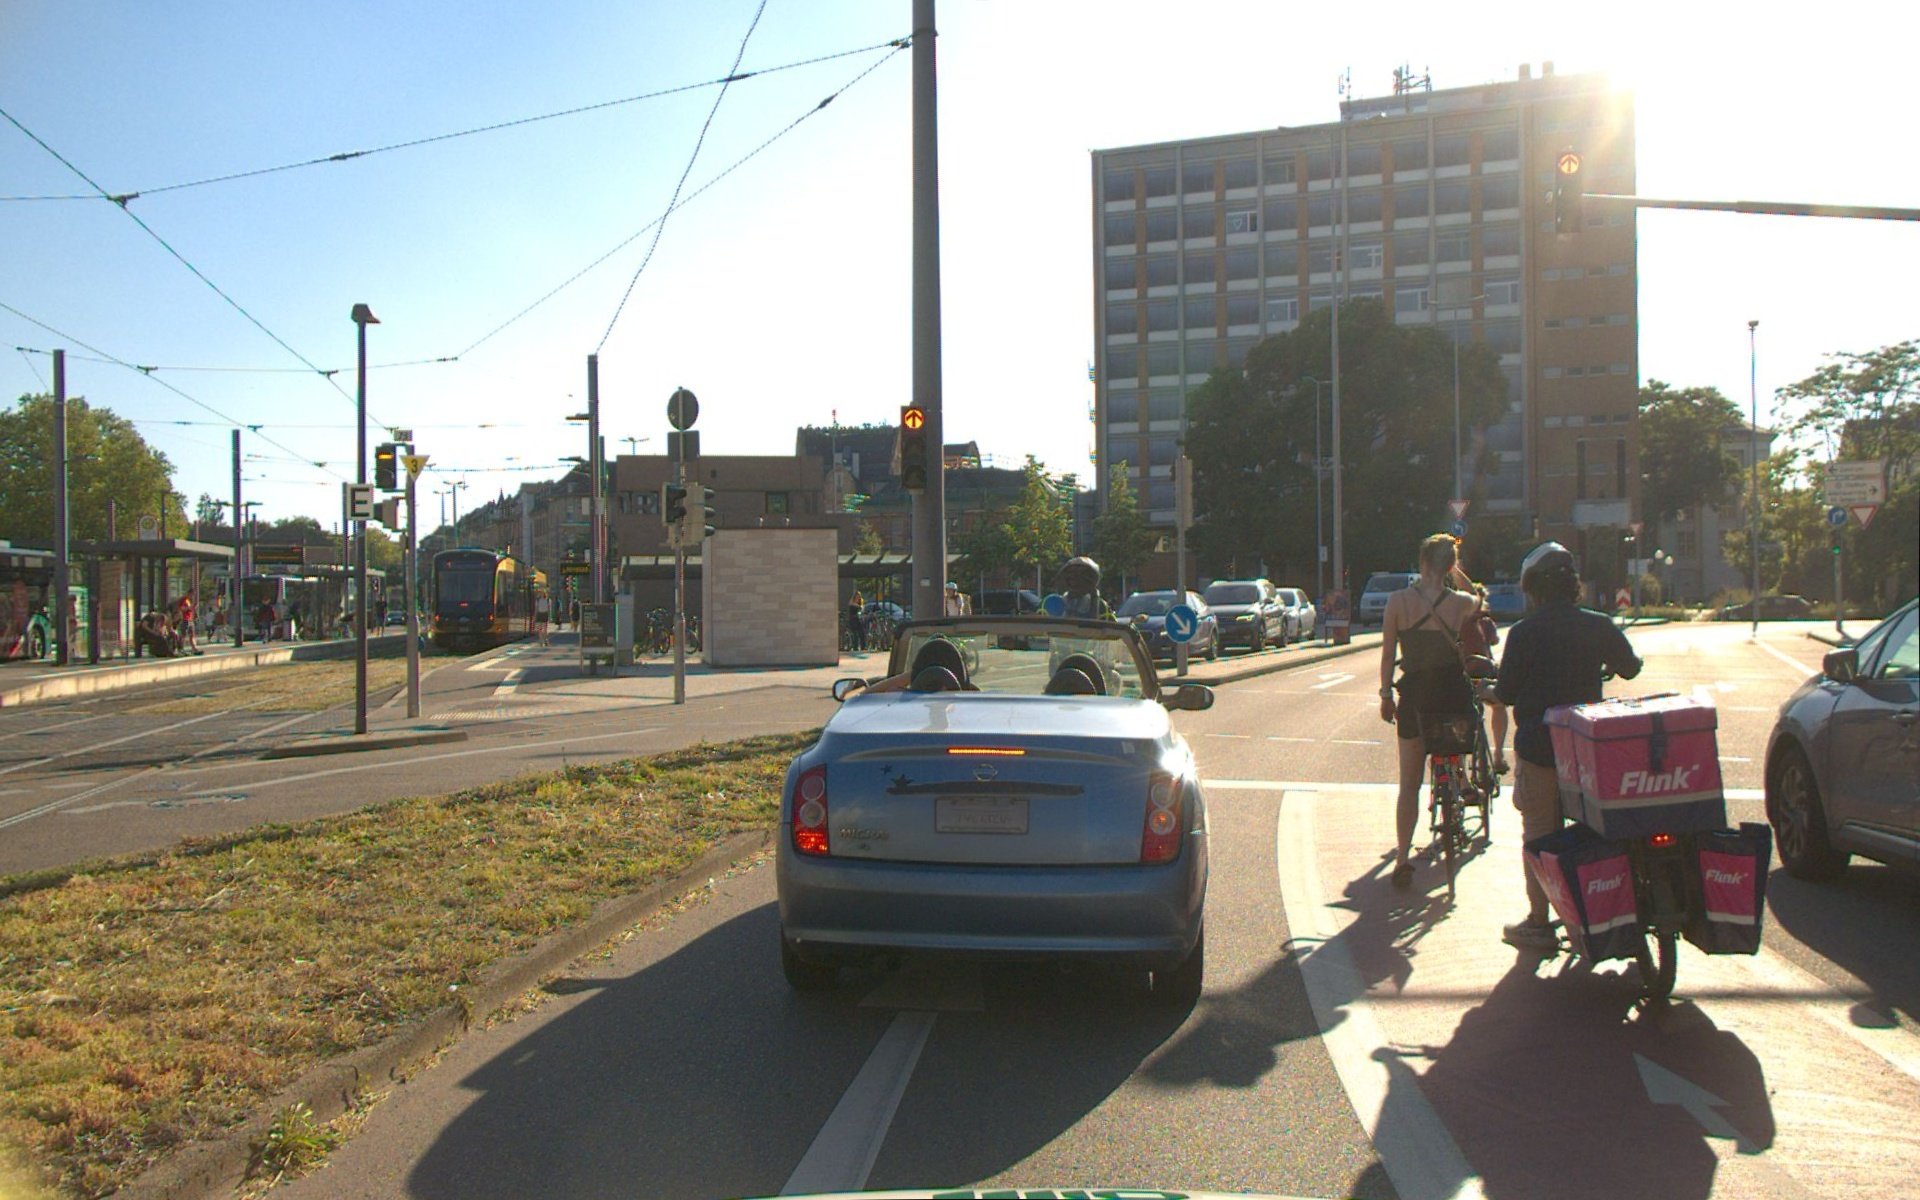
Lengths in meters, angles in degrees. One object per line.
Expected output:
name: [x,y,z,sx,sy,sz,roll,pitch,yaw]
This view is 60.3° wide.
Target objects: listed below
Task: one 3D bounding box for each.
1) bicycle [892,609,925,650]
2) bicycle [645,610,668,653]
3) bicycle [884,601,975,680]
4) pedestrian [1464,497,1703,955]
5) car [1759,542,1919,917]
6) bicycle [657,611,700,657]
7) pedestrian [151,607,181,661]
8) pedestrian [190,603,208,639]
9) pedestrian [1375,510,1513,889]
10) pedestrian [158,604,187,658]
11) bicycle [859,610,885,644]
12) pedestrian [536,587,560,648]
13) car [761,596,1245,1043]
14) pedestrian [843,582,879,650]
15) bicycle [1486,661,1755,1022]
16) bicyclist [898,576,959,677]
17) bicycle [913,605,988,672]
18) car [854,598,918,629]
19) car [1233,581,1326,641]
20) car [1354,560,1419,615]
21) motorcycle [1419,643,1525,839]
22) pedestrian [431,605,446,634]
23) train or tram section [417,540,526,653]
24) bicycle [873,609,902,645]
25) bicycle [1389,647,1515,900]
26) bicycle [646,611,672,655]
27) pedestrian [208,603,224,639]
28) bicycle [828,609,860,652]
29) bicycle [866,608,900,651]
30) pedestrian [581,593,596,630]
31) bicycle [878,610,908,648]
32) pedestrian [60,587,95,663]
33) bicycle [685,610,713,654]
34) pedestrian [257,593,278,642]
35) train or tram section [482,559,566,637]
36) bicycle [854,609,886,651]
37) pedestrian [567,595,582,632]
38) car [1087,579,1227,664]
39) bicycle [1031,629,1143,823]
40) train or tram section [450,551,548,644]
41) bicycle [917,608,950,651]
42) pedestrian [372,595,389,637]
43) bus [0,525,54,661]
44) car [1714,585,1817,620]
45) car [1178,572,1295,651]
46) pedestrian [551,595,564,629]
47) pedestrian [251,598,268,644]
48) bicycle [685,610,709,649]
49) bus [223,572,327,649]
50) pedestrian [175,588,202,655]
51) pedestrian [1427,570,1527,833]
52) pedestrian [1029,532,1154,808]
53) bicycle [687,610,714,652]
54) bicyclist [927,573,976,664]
bicycle: [-1.497,0.830,47.541,0.596,1.134,1.890,1,0,-13]
bicycle: [-8.425,0.861,45.846,0.596,1.134,1.891,1,0,-11]
bicycle: [-0.506,0.676,28.827,0.660,1.272,2.457,-3,-1,21]
pedestrian: [2.761,0.523,7.424,0.789,1.901,0.957,1,-1,8]
car: [5.284,0.607,7.397,1.792,1.719,4.372,1,0,8]
bicycle: [-7.185,0.857,42.335,0.594,1.134,1.898,1,0,5]
pedestrian: [-20.096,0.856,41.866,0.606,1.364,0.438,-1,0,-18]
pedestrian: [-38.482,1.050,83.622,0.626,1.779,0.571,-1,0,-8]
pedestrian: [2.558,0.500,8.808,0.645,1.901,0.873,1,-1,14]
pedestrian: [-20.253,0.802,42.546,0.561,1.369,0.637,-1,0,-17]
bicycle: [-3.022,0.911,56.682,0.596,1.134,1.890,1,0,-13]
pedestrian: [-12.353,0.523,49.578,0.628,1.779,0.569,-1,0,-19]
car: [0.353,0.746,7.679,1.625,1.466,4.157,1,0,6]
pedestrian: [-2.795,0.447,46.729,0.885,1.901,0.685,1,-1,-13]
bicycle: [2.726,0.900,7.071,0.542,1.192,2.374,1,0,9]
bicyclist: [-0.544,0.456,28.759,0.694,1.686,0.901,-3,-1,21]
bicycle: [-0.157,0.711,31.445,0.660,1.201,2.183,-1,0,21]
car: [-3.985,0.740,88.609,1.629,1.588,3.549,-1,0,-39]
car: [9.011,0.281,46.455,1.661,1.588,3.977,-1,0,25]
car: [16.541,-0.482,63.963,1.869,1.979,4.707,-3,-1,21]
motorcycle: [3.418,0.874,11.110,0.600,1.117,2.361,1,0,16]
pedestrian: [-31.351,1.168,99.453,0.720,1.779,0.638,-1,0,-8]
train or tram section: [-17.647,-0.106,60.405,2.831,3.659,12.161,1,0,-12]
bicycle: [-2.339,0.867,53.187,0.596,1.134,1.890,1,0,-13]
bicycle: [2.636,0.866,8.996,0.552,1.171,1.951,1,0,14]
bicycle: [-7.994,0.860,43.928,0.596,1.134,1.890,1,0,-13]
pedestrian: [-37.554,1.071,83.475,0.627,1.779,0.570,-1,0,-13]
bicycle: [-3.163,0.824,45.055,0.596,1.134,1.890,1,0,-13]
bicycle: [-2.112,0.783,45.212,0.596,1.134,1.890,1,0,-13]
pedestrian: [-18.463,0.570,82.192,0.628,1.779,0.732,-1,0,-19]
bicycle: [-2.089,0.886,51.219,0.596,1.134,1.890,1,0,-13]
pedestrian: [-20.973,0.590,39.316,0.527,1.779,0.559,-1,0,-6]
bicycle: [-6.990,0.844,44.274,0.596,1.134,1.890,1,0,-13]
pedestrian: [-25.643,0.638,61.242,0.630,1.779,0.567,-1,0,-27]
train or tram section: [-22.047,-0.069,84.255,2.984,3.659,12.024,1,0,-10]
bicycle: [-2.560,0.843,47.137,0.596,1.134,1.890,1,0,-13]
pedestrian: [-19.068,0.675,81.881,0.628,1.779,0.732,-1,0,-19]
car: [4.071,0.425,33.682,1.702,1.601,3.921,1,0,25]
bicycle: [0.951,0.830,11.896,0.595,1.212,2.416,1,0,9]
train or tram section: [-19.981,-0.083,72.360,2.957,3.659,12.169,1,0,-10]
bicycle: [-0.732,0.808,45.536,0.595,1.134,1.892,1,0,-10]
pedestrian: [-25.280,0.694,72.131,0.630,1.779,0.567,-1,0,-27]
bus: [-23.563,-0.179,37.168,2.606,3.190,9.619,1,0,-10]
car: [39.238,0.116,80.575,4.301,1.557,1.800,-2,-1,33]
car: [6.706,0.256,39.748,1.726,1.736,4.529,-2,-1,23]
pedestrian: [-21.791,0.648,89.577,0.593,1.779,0.830,-1,0,-8]
pedestrian: [-27.890,0.836,65.869,0.562,1.779,0.636,-1,0,-20]
bicycle: [-7.980,0.893,50.196,0.596,1.134,1.890,1,0,-13]
bus: [-32.736,0.467,79.552,2.675,3.331,13.413,1,0,-14]
pedestrian: [-20.708,0.582,44.404,0.561,1.779,0.637,-1,0,-17]
pedestrian: [3.380,0.631,10.848,0.575,1.626,1.025,1,-1,16]
pedestrian: [0.967,0.486,11.965,0.815,1.901,0.921,1,-1,8]
bicycle: [-7.280,0.862,46.333,0.596,1.134,1.890,1,0,-13]
bicyclist: [-0.157,0.348,31.472,0.694,1.686,0.743,-1,0,21]
